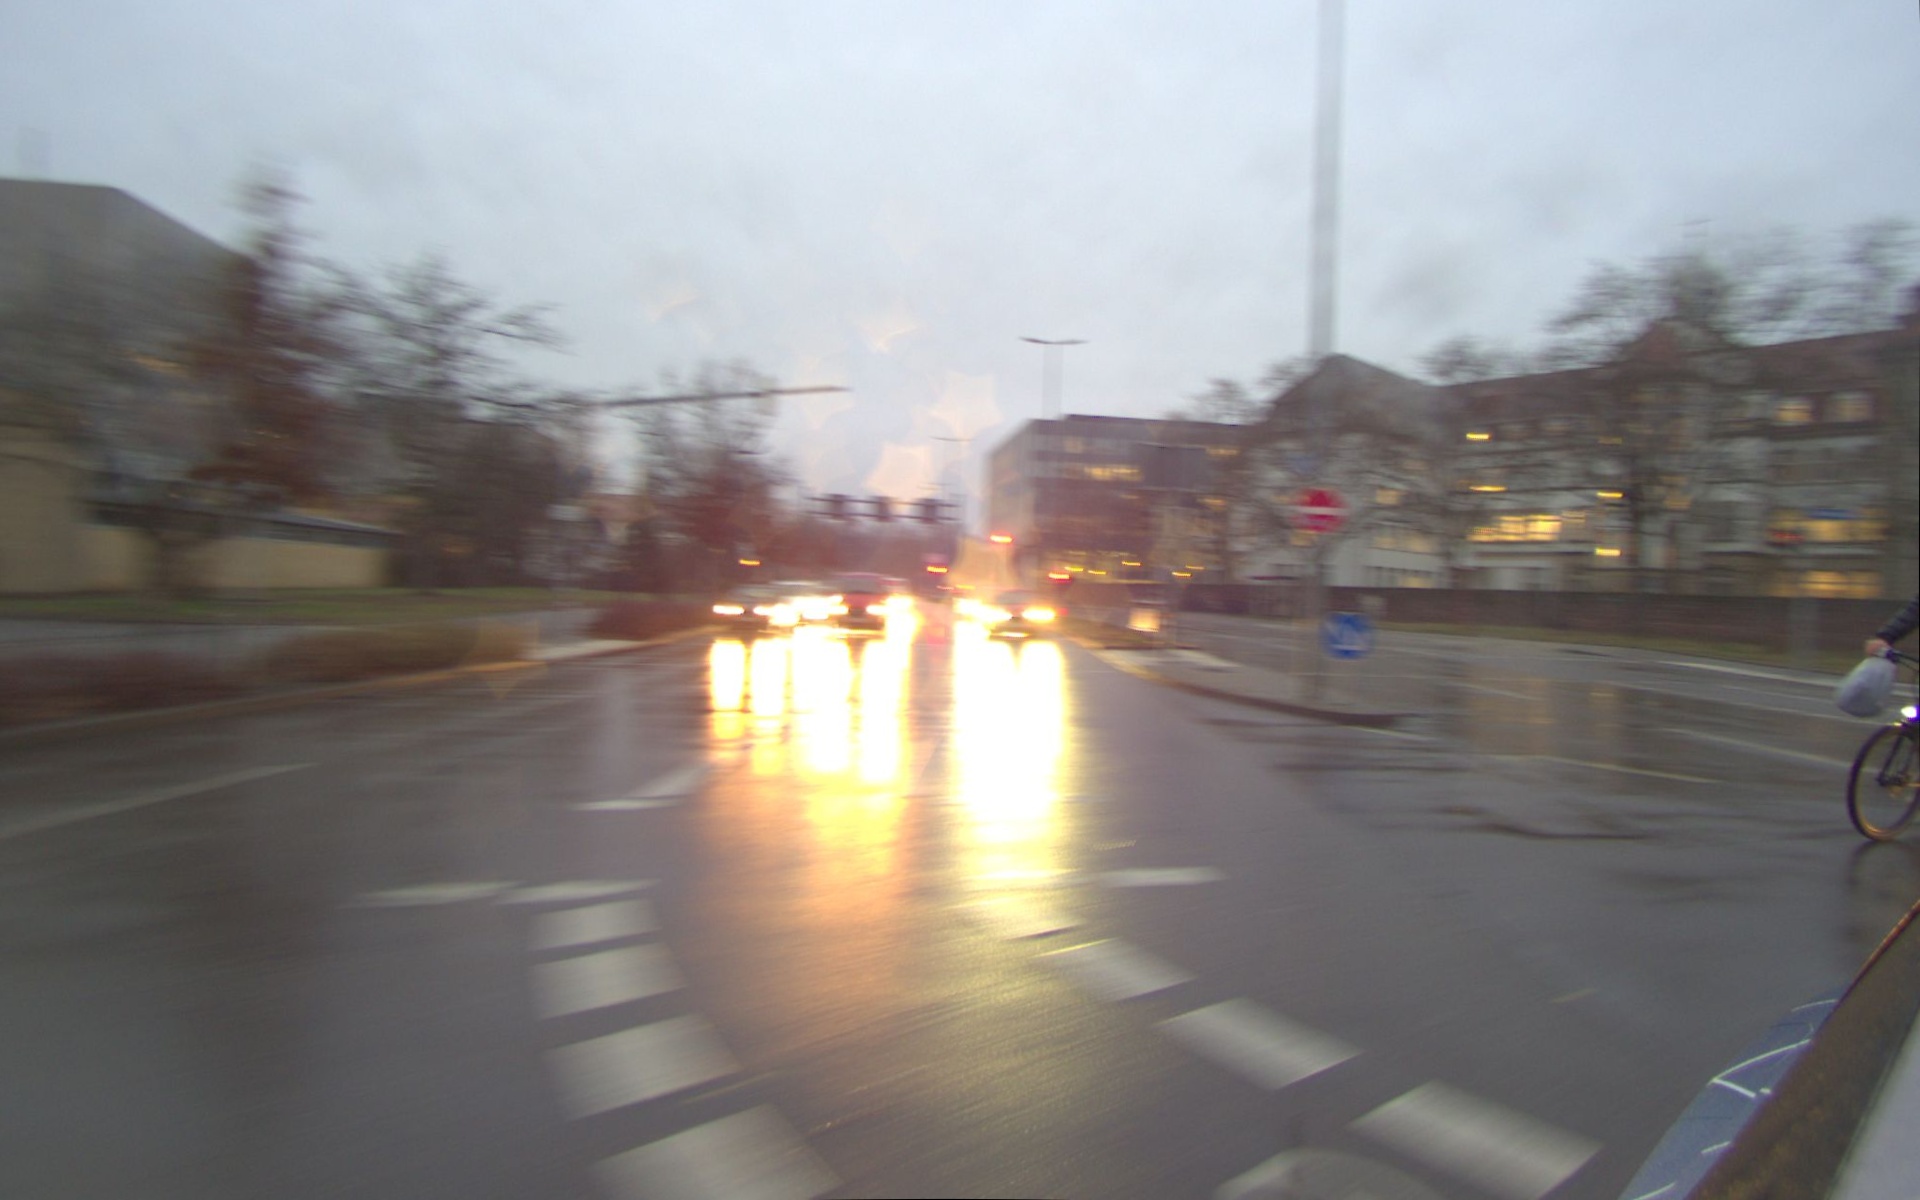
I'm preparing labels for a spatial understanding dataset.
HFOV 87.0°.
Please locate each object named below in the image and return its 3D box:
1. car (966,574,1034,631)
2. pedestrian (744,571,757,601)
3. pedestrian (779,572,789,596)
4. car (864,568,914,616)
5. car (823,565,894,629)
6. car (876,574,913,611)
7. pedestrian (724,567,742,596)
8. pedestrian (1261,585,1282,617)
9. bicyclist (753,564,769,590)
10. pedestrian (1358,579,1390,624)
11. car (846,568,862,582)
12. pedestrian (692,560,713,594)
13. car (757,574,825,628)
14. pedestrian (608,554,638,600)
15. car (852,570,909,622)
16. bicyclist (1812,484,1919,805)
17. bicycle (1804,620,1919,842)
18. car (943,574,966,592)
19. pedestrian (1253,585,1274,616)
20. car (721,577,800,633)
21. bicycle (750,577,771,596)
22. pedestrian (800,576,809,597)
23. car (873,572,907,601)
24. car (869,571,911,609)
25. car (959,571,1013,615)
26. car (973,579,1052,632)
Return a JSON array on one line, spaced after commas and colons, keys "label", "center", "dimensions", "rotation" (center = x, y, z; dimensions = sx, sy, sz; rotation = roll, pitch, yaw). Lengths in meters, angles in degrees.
[{"label": "car", "center": [1.460, 0.039, 39.112], "dimensions": [1.962, 1.770, 4.475], "rotation": [9, 1, -3]}, {"label": "pedestrian", "center": [-14.929, -0.995, 72.068], "dimensions": [0.751, 2.038, 0.911], "rotation": [2, 1, -4]}, {"label": "pedestrian", "center": [-15.408, -1.404, 88.599], "dimensions": [0.751, 2.038, 0.774], "rotation": [2, 1, -4]}, {"label": "car", "center": [-3.032, -0.366, 43.992], "dimensions": [1.961, 1.927, 4.002], "rotation": [2, 1, -2]}, {"label": "car", "center": [-3.110, -0.154, 31.905], "dimensions": [1.961, 1.771, 4.950], "rotation": [2, 1, -3]}, {"label": "car", "center": [-3.706, -0.479, 57.432], "dimensions": [1.961, 1.947, 4.271], "rotation": [2, 1, -3]}, {"label": "pedestrian", "center": [-14.841, -1.199, 66.202], "dimensions": [0.915, 1.848, 0.835], "rotation": [3, 1, -3]}, {"label": "pedestrian", "center": [18.578, 0.072, 60.433], "dimensions": [0.792, 1.853, 0.949], "rotation": [2, 1, -7]}, {"label": "bicyclist", "center": [-12.122, -1.412, 61.719], "dimensions": [0.753, 1.508, 0.995], "rotation": [2, 1, -3]}, {"label": "pedestrian", "center": [17.612, 0.038, 43.070], "dimensions": [0.792, 1.853, 0.949], "rotation": [2, 1, -7]}, {"label": "car", "center": [-15.104, -3.531, 144.195], "dimensions": [2.101, 1.838, 4.004], "rotation": [2, 1, -4]}, {"label": "pedestrian", "center": [-14.444, -1.276, 56.738], "dimensions": [0.915, 1.848, 0.835], "rotation": [3, 1, -3]}, {"label": "car", "center": [-6.327, -0.014, 38.305], "dimensions": [1.961, 1.860, 4.002], "rotation": [2, 1, -1]}, {"label": "pedestrian", "center": [-14.060, -0.970, 42.237], "dimensions": [0.915, 1.848, 0.835], "rotation": [3, 1, -3]}, {"label": "car", "center": [-2.947, -0.208, 38.263], "dimensions": [1.961, 1.771, 4.475], "rotation": [2, 1, -3]}, {"label": "bicyclist", "center": [6.250, 0.265, 6.238], "dimensions": [1.210, 1.907, 1.029], "rotation": [0, 0, -18]}, {"label": "bicycle", "center": [6.291, 0.759, 6.256], "dimensions": [1.864, 1.238, 0.796], "rotation": [0, 0, -19]}, {"label": "car", "center": [-0.558, -1.644, 97.423], "dimensions": [1.962, 1.587, 4.472], "rotation": [4, 0, -2]}, {"label": "pedestrian", "center": [18.596, 0.024, 62.031], "dimensions": [0.792, 1.853, 0.949], "rotation": [2, 1, -7]}, {"label": "car", "center": [-6.069, 0.096, 31.272], "dimensions": [1.740, 1.505, 4.475], "rotation": [2, 1, -3]}, {"label": "bicycle", "center": [-12.145, -0.834, 61.711], "dimensions": [0.779, 1.028, 2.905], "rotation": [2, 2, -3]}, {"label": "pedestrian", "center": [-13.590, -1.182, 88.511], "dimensions": [0.612, 1.823, 0.938], "rotation": [2, 1, -1]}, {"label": "car", "center": [-4.399, -0.883, 63.970], "dimensions": [1.961, 1.587, 4.766], "rotation": [3, 1, -3]}, {"label": "car", "center": [-3.493, -0.525, 50.923], "dimensions": [1.961, 1.794, 4.003], "rotation": [2, 1, -3]}, {"label": "car", "center": [1.112, -0.355, 45.151], "dimensions": [1.961, 1.771, 4.475], "rotation": [3, 1, -3]}, {"label": "car", "center": [1.541, 0.116, 31.165], "dimensions": [1.894, 1.393, 4.502], "rotation": [2, 1, -3]}]
